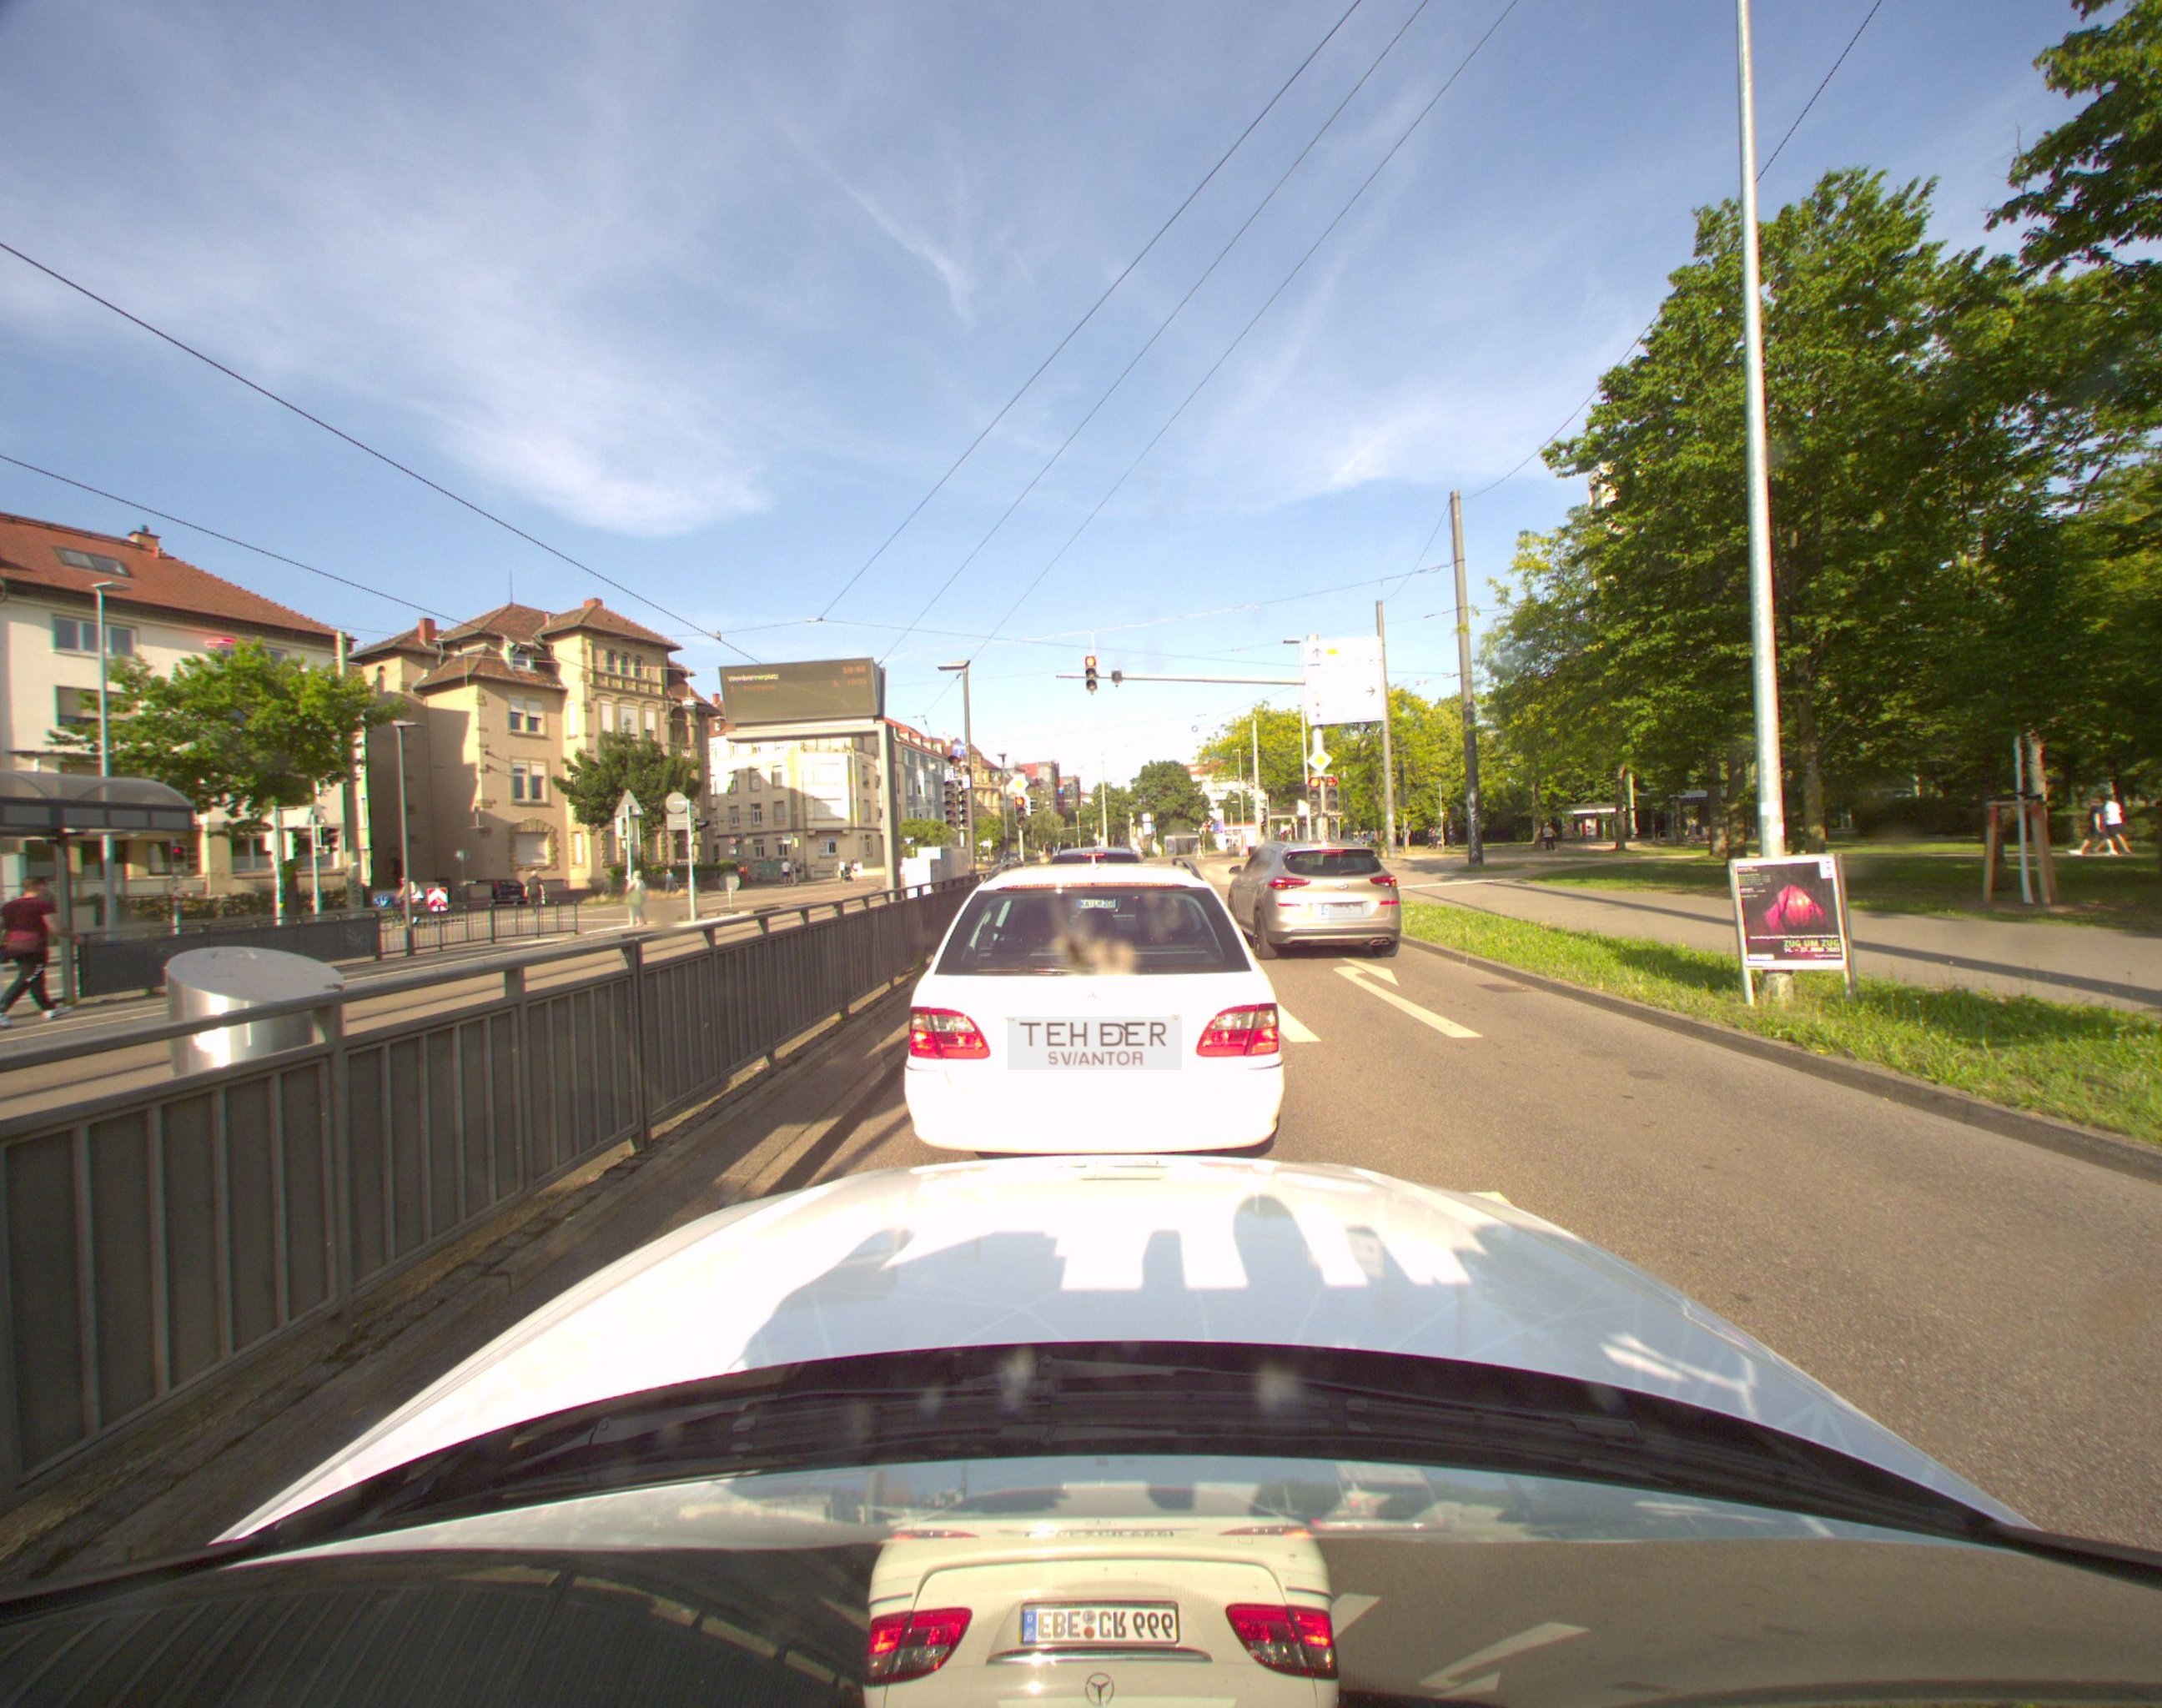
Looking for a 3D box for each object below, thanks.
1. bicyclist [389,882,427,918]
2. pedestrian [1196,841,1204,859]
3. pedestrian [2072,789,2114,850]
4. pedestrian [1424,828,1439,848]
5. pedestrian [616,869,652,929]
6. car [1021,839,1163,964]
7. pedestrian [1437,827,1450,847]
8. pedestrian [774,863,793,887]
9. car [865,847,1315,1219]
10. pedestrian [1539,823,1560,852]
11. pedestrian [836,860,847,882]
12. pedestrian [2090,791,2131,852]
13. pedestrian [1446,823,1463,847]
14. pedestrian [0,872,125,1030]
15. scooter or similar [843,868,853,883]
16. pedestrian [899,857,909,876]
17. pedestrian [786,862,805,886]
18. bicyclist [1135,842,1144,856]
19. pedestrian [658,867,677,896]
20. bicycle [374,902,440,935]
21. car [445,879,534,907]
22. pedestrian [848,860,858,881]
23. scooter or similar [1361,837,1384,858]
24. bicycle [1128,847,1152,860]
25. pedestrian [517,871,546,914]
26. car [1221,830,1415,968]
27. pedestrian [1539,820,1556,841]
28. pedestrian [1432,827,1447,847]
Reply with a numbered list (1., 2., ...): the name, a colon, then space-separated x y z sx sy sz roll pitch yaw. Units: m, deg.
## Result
1. bicyclist: -20.311 1.383 24.576 0.511 1.044 0.680 -3 0 2
2. pedestrian: 12.211 -0.398 83.682 0.638 1.857 0.554 -3 0 13
3. pedestrian: 30.636 -1.036 24.656 0.503 1.811 0.624 -3 0 -24
4. pedestrian: 27.262 -1.237 63.291 0.820 1.487 0.692 -3 0 -40
5. pedestrian: -12.500 1.248 22.802 0.611 1.599 0.632 -3 0 -5
6. car: 0.212 0.625 12.689 1.878 1.651 3.649 0 0 2
7. pedestrian: 27.775 -1.299 62.374 0.805 1.487 0.705 -3 0 26
8. pedestrian: -20.132 1.397 55.061 0.822 1.552 0.786 -3 0 23
9. car: 0.078 0.718 5.113 1.789 1.470 3.648 -1 0 1
10. pedestrian: 27.531 -0.969 47.861 0.758 1.636 0.800 -3 0 -38
11. pedestrian: -17.866 1.263 60.815 0.506 1.626 0.609 -3 0 3
12. pedestrian: 31.324 -0.986 24.778 0.504 1.811 0.624 -3 0 -27
13. pedestrian: 29.126 -1.473 63.500 0.797 1.785 0.838 -3 0 -2
14. pedestrian: -11.904 1.088 9.389 0.551 1.684 0.878 -6 0 2
15. scooter or similar: -17.631 1.639 61.683 0.541 1.079 0.683 -1 -1 1
16. pedestrian: -15.978 1.150 73.604 0.579 1.660 0.625 -3 0 22
17. pedestrian: -19.268 1.352 54.879 0.822 1.552 0.786 -3 0 23
18. bicyclist: 6.379 -0.543 88.641 0.855 1.482 0.792 -3 0 11
19. pedestrian: -23.463 1.556 46.243 0.626 1.541 0.711 -3 0 1
20. bicycle: -20.281 1.927 24.547 0.524 0.834 1.687 -3 0 2
21. car: -29.448 1.907 40.564 4.066 1.310 1.774 -1 -1 24
22. pedestrian: -17.025 1.225 60.793 0.434 1.500 0.551 -3 0 16
23. scooter or similar: 16.190 -0.376 45.278 0.421 1.117 1.322 -3 0 -18
24. bicycle: 6.384 -0.071 88.643 2.467 1.213 0.809 -3 0 9
25. pedestrian: -21.987 1.519 32.582 0.798 1.645 0.748 -3 0 -42
26. car: 3.327 0.568 12.189 1.878 1.651 3.649 -3 0 2
27. pedestrian: 36.738 -1.863 64.164 0.831 1.636 0.804 -3 0 8
28. pedestrian: 28.111 -1.319 63.879 0.813 1.487 0.698 -3 0 -9
